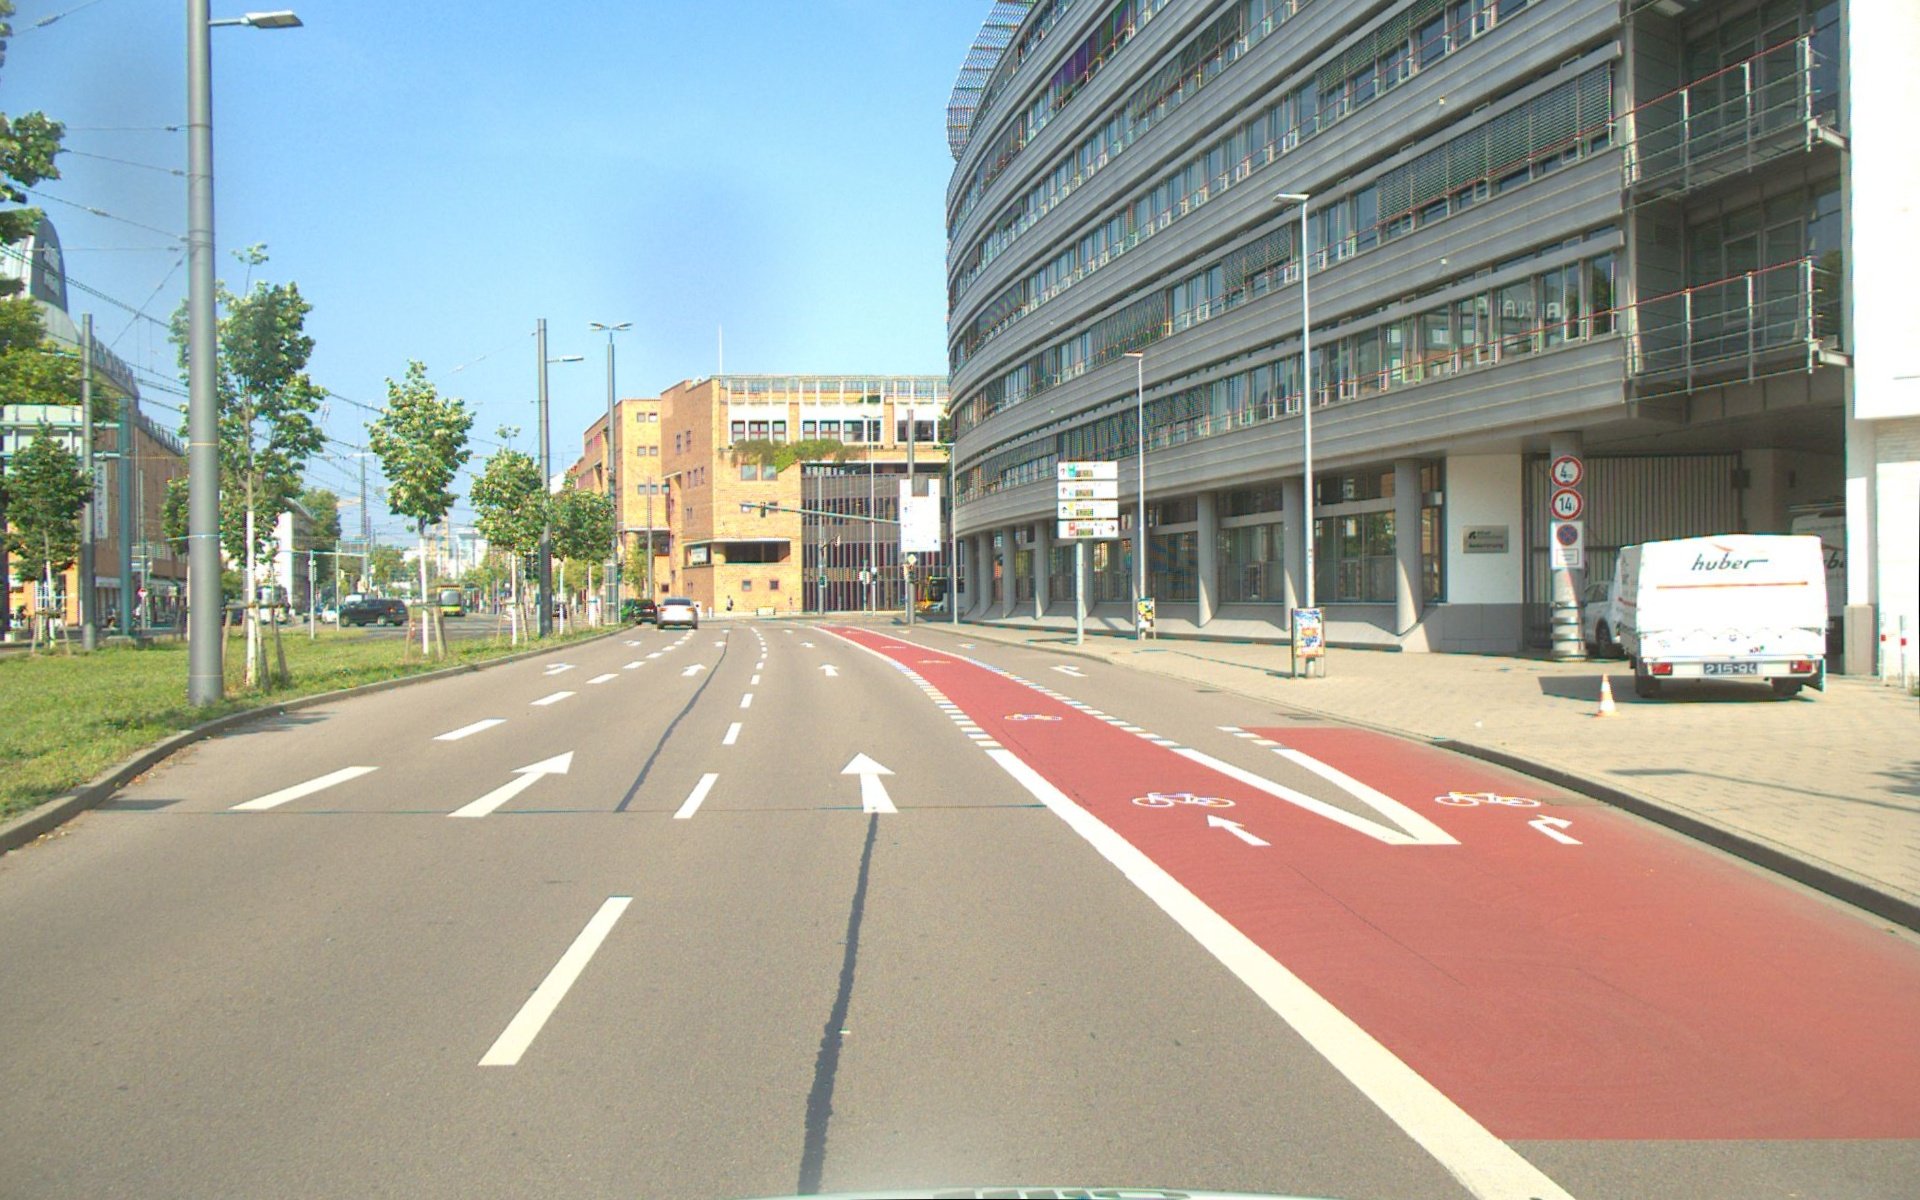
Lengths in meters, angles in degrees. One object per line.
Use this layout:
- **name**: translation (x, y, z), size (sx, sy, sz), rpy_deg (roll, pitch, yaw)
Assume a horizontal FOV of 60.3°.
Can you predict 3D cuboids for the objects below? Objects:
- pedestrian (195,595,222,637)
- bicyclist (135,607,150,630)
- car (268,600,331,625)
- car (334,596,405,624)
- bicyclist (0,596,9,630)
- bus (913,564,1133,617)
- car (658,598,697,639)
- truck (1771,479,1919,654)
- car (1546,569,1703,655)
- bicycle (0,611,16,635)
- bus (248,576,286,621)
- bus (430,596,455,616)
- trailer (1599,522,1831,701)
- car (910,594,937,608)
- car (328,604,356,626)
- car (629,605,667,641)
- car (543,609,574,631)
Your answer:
- **pedestrian**: translation (-37.083, 0.774, 81.613), size (1.139, 2.049, 0.771), rpy_deg (0, -2, -22)
- **bicyclist**: translation (-61.703, 1.384, 124.856), size (0.973, 1.725, 0.665), rpy_deg (0, -2, -24)
- **car**: translation (-45.017, 0.866, 112.771), size (3.541, 1.652, 1.866), rpy_deg (-1, 0, -5)
- **car**: translation (-38.472, 0.681, 107.809), size (3.902, 1.708, 2.001), rpy_deg (-1, -1, 12)
- **bicyclist**: translation (-51.447, 0.687, 88.451), size (0.946, 1.777, 0.665), rpy_deg (-2, -2, 30)
- **bus**: translation (4.994, -0.735, 131.890), size (17.284, 3.877, 2.859), rpy_deg (-1, -2, -9)
- **car**: translation (-13.041, 0.884, 76.538), size (1.673, 1.786, 3.882), rpy_deg (-1, -1, -8)
- **truck**: translation (18.757, -0.786, 33.033), size (6.090, 3.150, 1.973), rpy_deg (-5, 1, -38)
- **car**: translation (13.425, 0.191, 33.667), size (1.707, 1.617, 4.002), rpy_deg (-1, 1, 2)
- **bicycle**: translation (-51.368, 1.242, 88.389), size (2.236, 1.228, 0.549), rpy_deg (-2, -2, 29)
- **bus**: translation (-63.361, -0.121, 151.343), size (2.707, 3.989, 12.140), rpy_deg (-1, 0, -21)
- **bus**: translation (-53.641, 0.656, 171.524), size (1.968, 2.049, 3.968), rpy_deg (-1, 0, -25)
- **trailer**: translation (10.482, 0.128, 23.451), size (2.339, 2.189, 5.952), rpy_deg (-1, 0, 19)
- **car**: translation (-2.804, 0.067, 126.842), size (1.915, 0.975, 1.091), rpy_deg (1, -3, -10)
- **car**: translation (-47.229, 1.150, 126.387), size (1.708, 1.569, 3.418), rpy_deg (0, -2, -26)
- **car**: translation (-18.358, 1.385, 97.397), size (1.956, 2.049, 4.234), rpy_deg (-1, -1, -8)
- **car**: translation (-38.414, 1.900, 158.155), size (1.970, 2.049, 3.964), rpy_deg (0, -2, -27)
